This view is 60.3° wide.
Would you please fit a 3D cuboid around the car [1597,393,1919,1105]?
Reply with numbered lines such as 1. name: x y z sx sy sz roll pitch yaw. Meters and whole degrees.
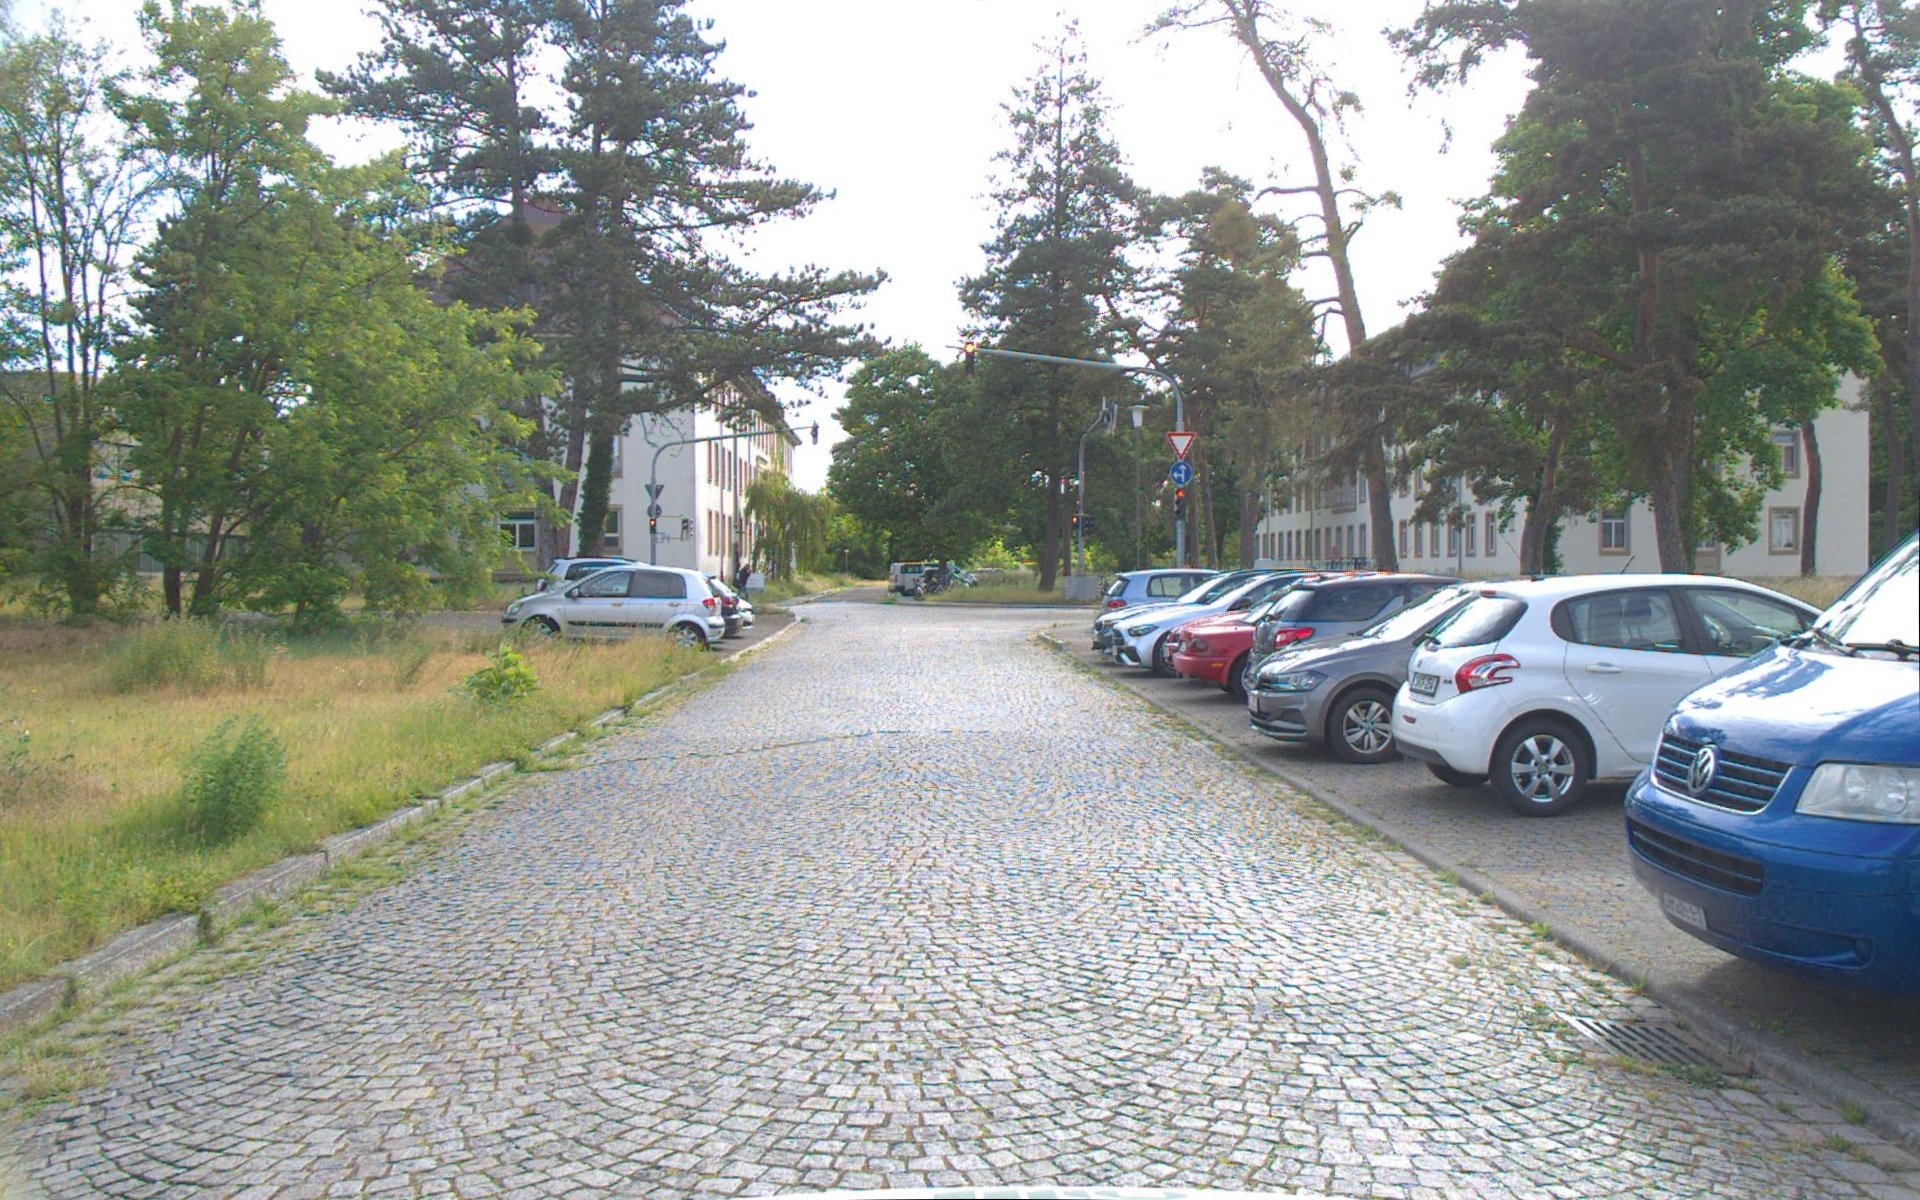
1. car: 4.908 0.410 5.820 4.687 2.075 1.737 0 1 -3

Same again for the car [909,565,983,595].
1. car: -0.799 -1.133 93.029 3.912 1.673 1.997 0 1 -8

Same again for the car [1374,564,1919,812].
1. car: 4.659 0.528 11.280 3.227 1.531 1.663 0 1 -4

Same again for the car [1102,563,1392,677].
1. car: 4.171 0.258 24.323 3.912 1.570 1.661 0 1 -8

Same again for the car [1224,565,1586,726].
1. car: 4.554 0.412 17.111 3.235 1.530 1.659 -1 1 -13

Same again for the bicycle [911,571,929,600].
1. bicycle: -1.806 -0.652 74.680 0.793 1.290 1.973 0 1 -1

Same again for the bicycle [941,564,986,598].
1. bicycle: 0.163 -0.931 79.813 2.120 1.644 0.811 0 1 -9

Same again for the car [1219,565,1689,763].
1. car: 4.187 0.479 14.217 3.535 1.533 1.659 -1 1 -13

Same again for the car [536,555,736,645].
1. car: -6.593 -0.014 33.995 3.913 1.780 1.923 0 1 -9

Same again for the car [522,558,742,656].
1. car: -6.056 0.095 30.959 3.912 1.735 1.997 0 1 -8

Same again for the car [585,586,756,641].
1. car: -6.284 0.278 36.182 3.602 1.113 1.643 0 1 -8

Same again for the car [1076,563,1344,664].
1. car: 4.054 0.194 27.105 4.045 1.570 1.661 0 1 -8

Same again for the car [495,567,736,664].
1. car: -5.838 0.227 28.478 3.912 1.579 1.997 0 1 -8

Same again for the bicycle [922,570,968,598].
1. bicycle: -0.702 -0.760 78.483 2.120 1.290 0.811 0 1 -9

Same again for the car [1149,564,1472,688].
1. car: 4.626 0.313 22.078 3.912 1.570 1.661 0 1 -8

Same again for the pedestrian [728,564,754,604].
1. pedestrian: -8.302 -0.615 62.750 0.880 1.524 0.904 0 1 -1

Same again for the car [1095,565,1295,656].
1. car: 4.192 0.161 29.681 3.325 1.570 1.389 0 1 -8

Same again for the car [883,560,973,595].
1. car: -1.853 -1.309 96.265 4.962 2.049 1.994 0 1 -13

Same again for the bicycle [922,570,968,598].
1. bicycle: -0.725 -0.764 79.070 2.120 1.290 0.811 0 1 -9

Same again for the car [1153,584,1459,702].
1. car: 4.091 0.481 19.810 3.230 1.289 1.661 0 1 -8

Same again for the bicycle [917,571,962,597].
1. bicycle: -0.998 -0.777 80.273 2.120 1.290 0.811 0 1 -9
